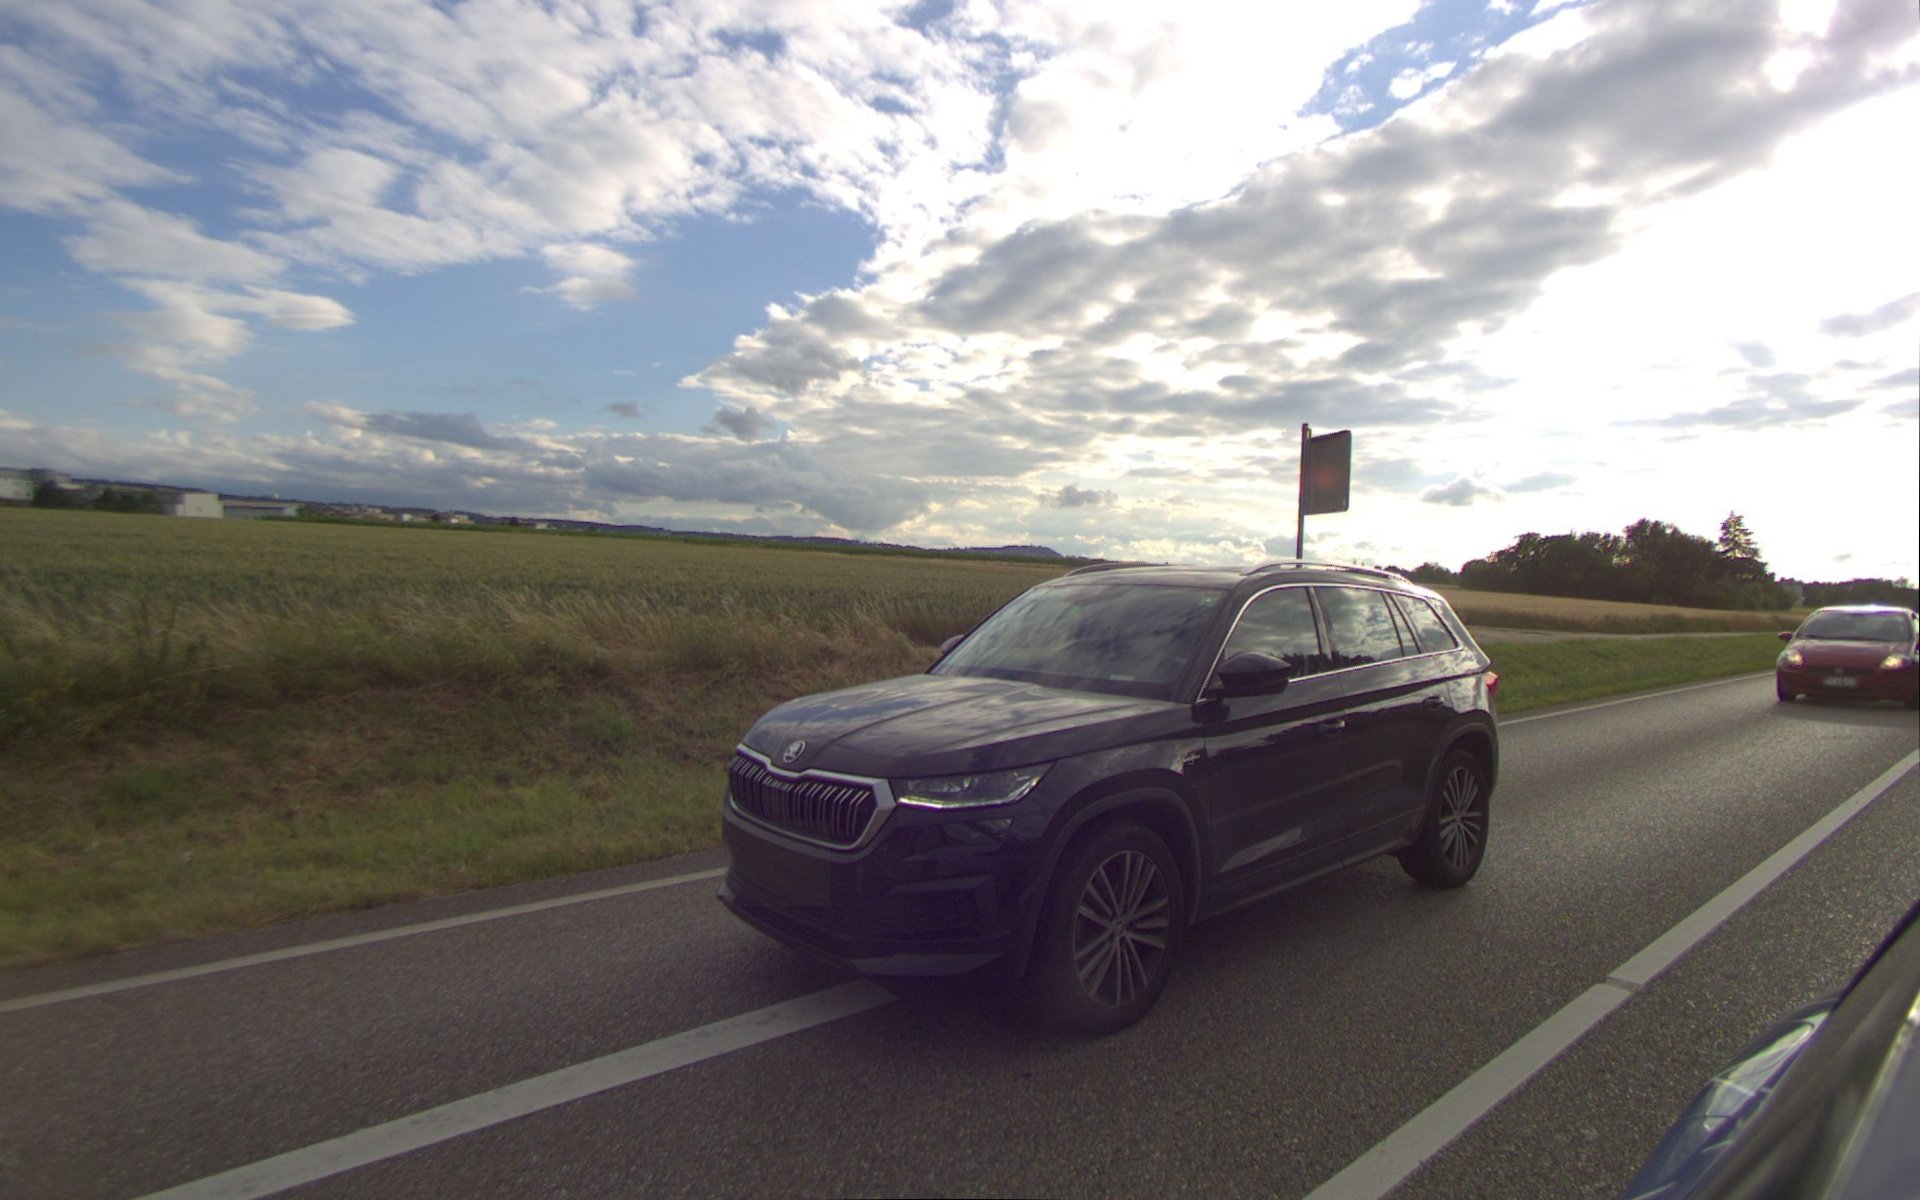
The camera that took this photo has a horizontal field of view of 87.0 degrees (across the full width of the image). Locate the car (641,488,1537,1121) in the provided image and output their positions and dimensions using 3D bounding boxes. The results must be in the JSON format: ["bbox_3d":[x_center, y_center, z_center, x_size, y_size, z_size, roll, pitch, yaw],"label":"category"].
[{"bbox_3d":[0.967,0.535,4.943,4.477,1.730,1.839,-1,0,-41],"label":"car"}]

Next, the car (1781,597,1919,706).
[{"bbox_3d":[14.298,0.708,15.749,3.840,1.475,1.710,-1,0,-41],"label":"car"}]
